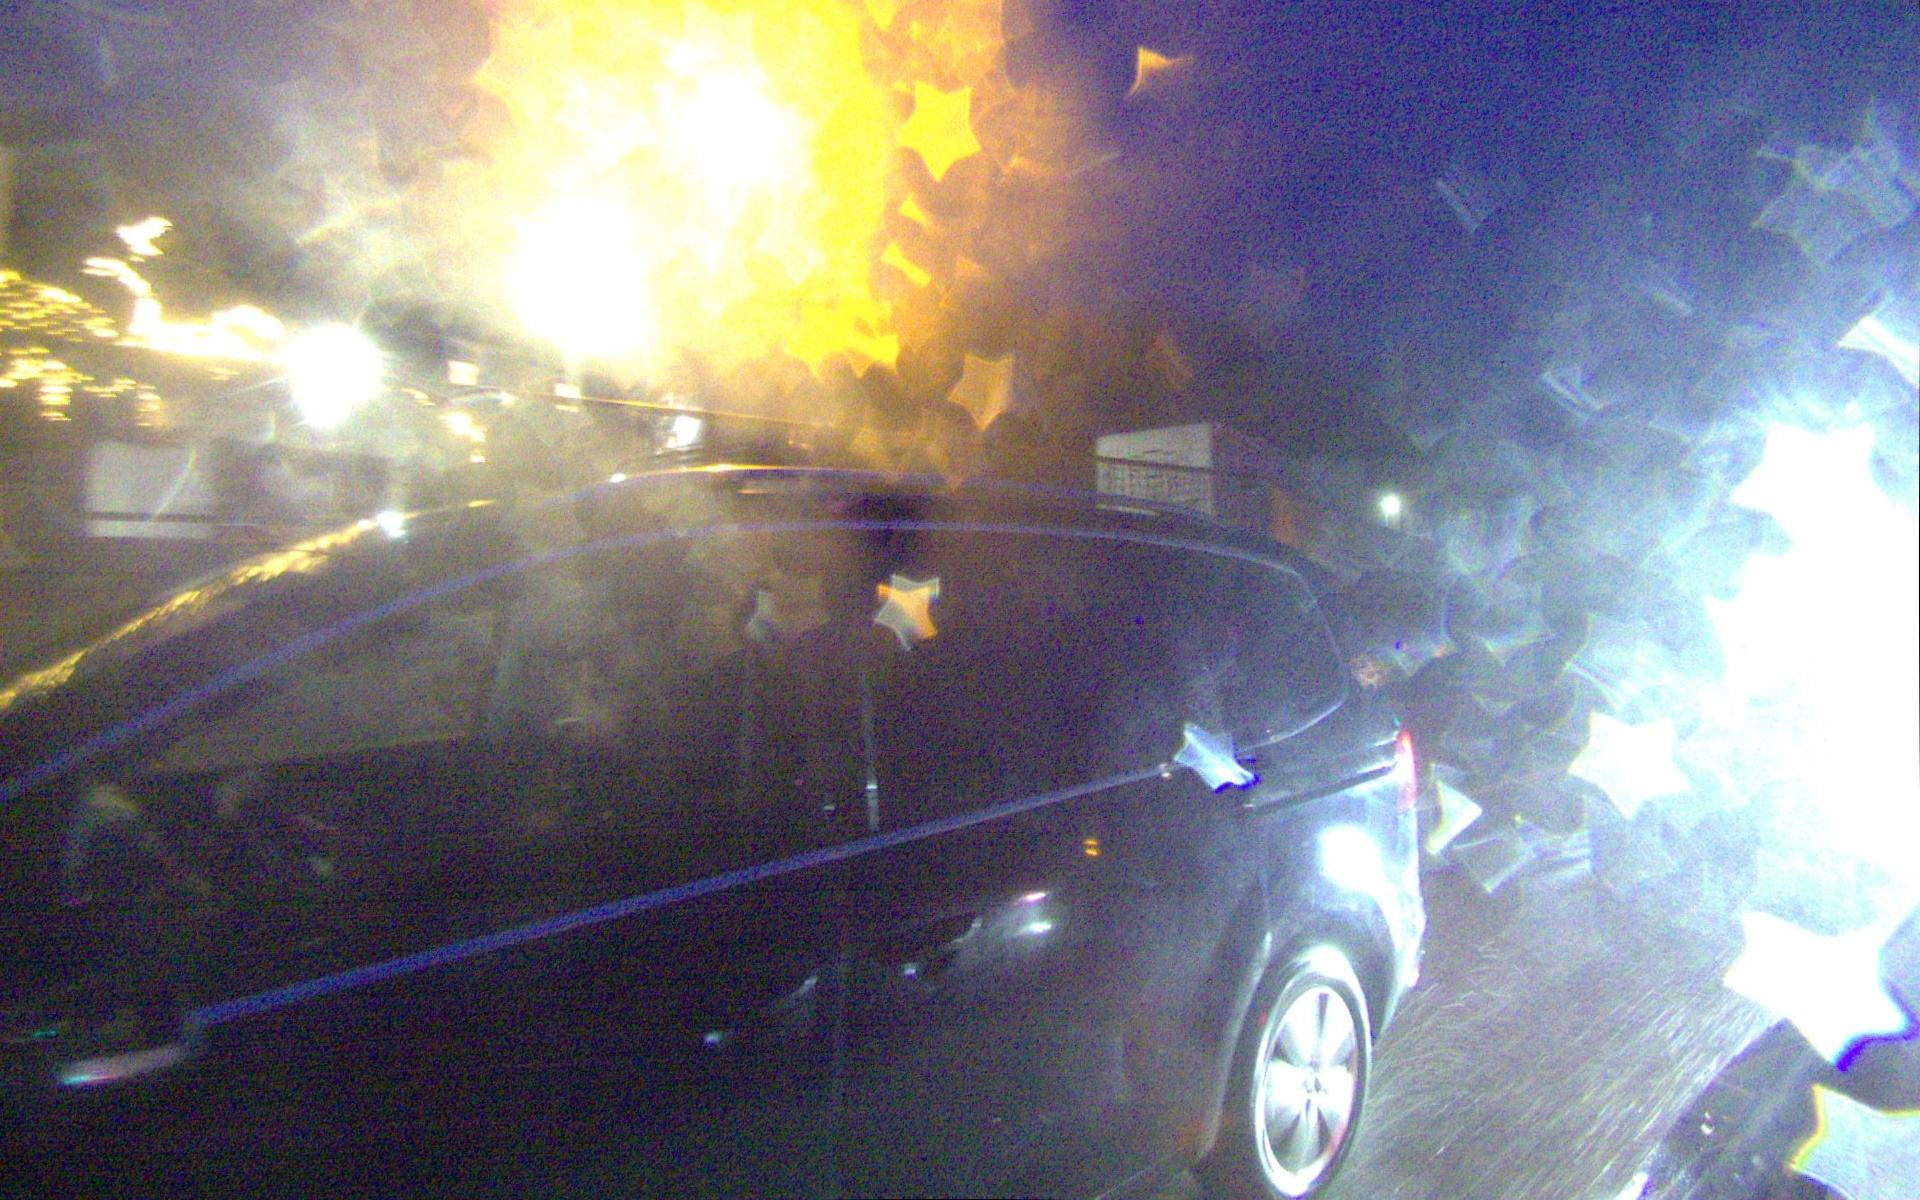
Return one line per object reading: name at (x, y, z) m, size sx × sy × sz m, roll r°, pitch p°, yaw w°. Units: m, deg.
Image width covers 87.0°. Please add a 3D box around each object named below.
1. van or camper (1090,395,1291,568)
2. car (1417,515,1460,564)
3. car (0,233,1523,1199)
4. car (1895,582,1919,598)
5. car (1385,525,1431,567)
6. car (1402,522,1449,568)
van or camper at (4.841, -2.131, 20.448) m, size 2.394 × 2.828 × 5.712 m, roll -1°, pitch 0°, yaw 30°
car at (29.824, -3.733, 62.993) m, size 1.922 × 2.810 × 4.206 m, roll -1°, pitch 0°, yaw 32°
car at (-0.749, 0.542, 2.182) m, size 4.854 × 1.757 × 1.838 m, roll -1°, pitch 0°, yaw -40°
car at (104.346, -1.050, 109.637) m, size 1.958 × 1.718 × 4.008 m, roll -1°, pitch 0°, yaw -22°
car at (23.910, -2.840, 53.932) m, size 1.721 × 2.039 × 3.658 m, roll -1°, pitch 0°, yaw 32°
car at (26.918, -3.106, 58.479) m, size 1.922 × 2.451 × 4.206 m, roll -1°, pitch 0°, yaw 32°
